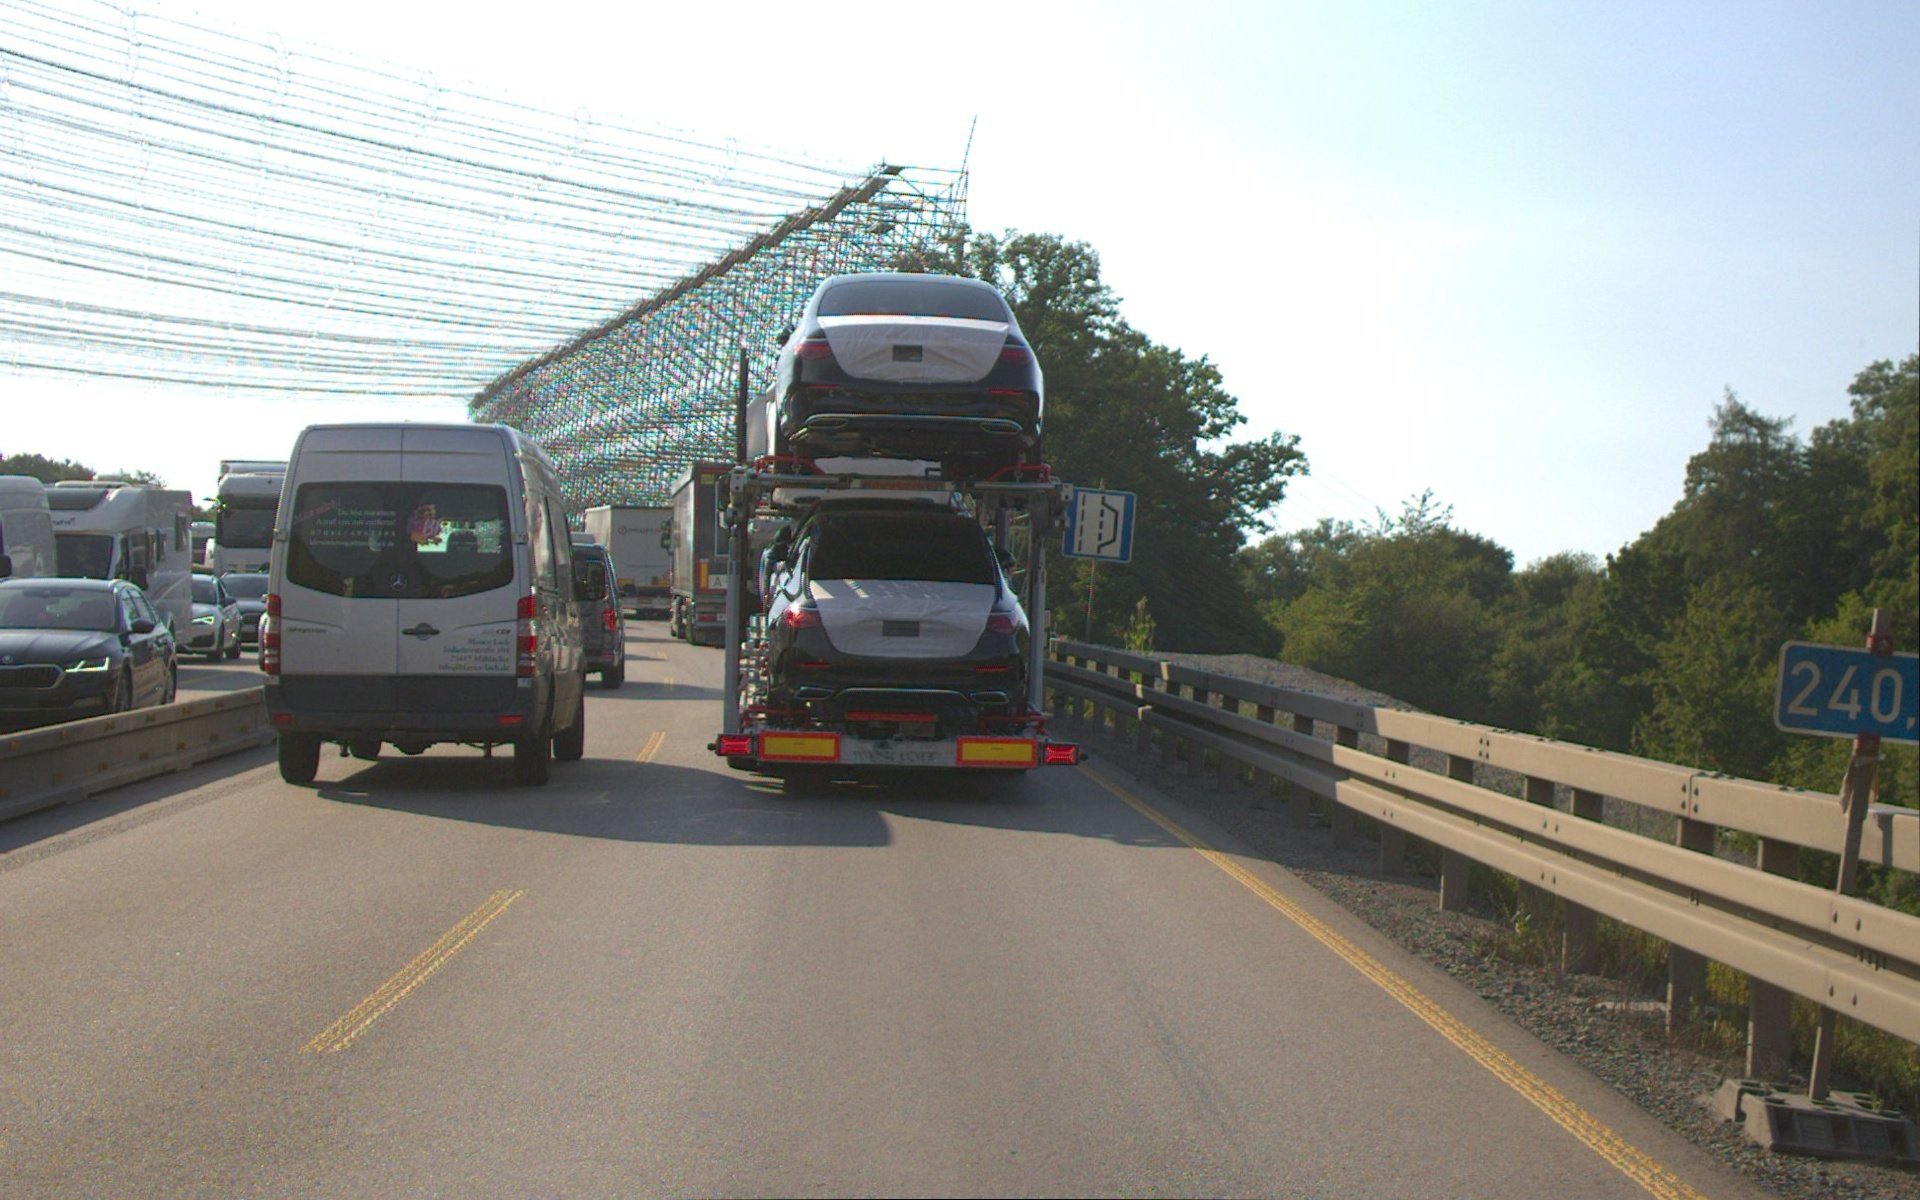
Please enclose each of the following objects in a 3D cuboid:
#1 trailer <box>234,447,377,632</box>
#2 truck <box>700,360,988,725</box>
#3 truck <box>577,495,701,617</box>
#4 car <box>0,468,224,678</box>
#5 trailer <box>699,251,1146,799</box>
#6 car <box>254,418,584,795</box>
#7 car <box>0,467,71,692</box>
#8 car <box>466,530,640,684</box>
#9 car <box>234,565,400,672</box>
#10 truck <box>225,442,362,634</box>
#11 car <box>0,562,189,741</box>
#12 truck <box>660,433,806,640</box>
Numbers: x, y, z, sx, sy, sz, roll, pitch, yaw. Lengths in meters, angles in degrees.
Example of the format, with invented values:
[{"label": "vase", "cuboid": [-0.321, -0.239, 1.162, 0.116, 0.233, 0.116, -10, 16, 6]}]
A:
[{"label": "trailer", "cuboid": [-16.152, -1.421, 85.622, 2.720, 4.203, 13.752, 1, 0, -8]}, {"label": "truck", "cuboid": [-1.455, -0.600, 38.848, 2.881, 3.690, 7.326, 1, 0, -4]}, {"label": "truck", "cuboid": [-12.090, -1.667, 128.209, 3.686, 4.206, 13.672, -2, 1, -9]}, {"label": "car", "cuboid": [-12.812, -0.373, 51.517, 2.334, 2.908, 7.633, 0, 0, -3]}, {"label": "trailer", "cuboid": [-0.815, -0.545, 31.082, 2.868, 3.712, 14.949, 1, 0, -5]}, {"label": "car", "cuboid": [-3.983, 0.046, 25.936, 1.956, 2.612, 4.000, 0, 0, -2]}, {"label": "car", "cuboid": [-12.165, -0.240, 40.974, 1.956, 2.612, 5.749, 0, 0, -3]}, {"label": "car", "cuboid": [-5.628, 0.100, 47.976, 1.993, 2.007, 4.000, 2, 0, -1]}, {"label": "car", "cuboid": [-10.038, 0.254, 53.984, 2.058, 1.481, 4.727, -2, 2, -5]}, {"label": "truck", "cuboid": [-15.225, -1.378, 78.882, 2.712, 4.203, 5.684, 1, 0, -8]}, {"label": "car", "cuboid": [-8.361, 0.422, 31.699, 1.654, 1.518, 4.287, 1, 0, -2]}, {"label": "truck", "cuboid": [-5.394, -1.449, 79.891, 2.731, 4.371, 11.524, 2, 1, -6]}]
